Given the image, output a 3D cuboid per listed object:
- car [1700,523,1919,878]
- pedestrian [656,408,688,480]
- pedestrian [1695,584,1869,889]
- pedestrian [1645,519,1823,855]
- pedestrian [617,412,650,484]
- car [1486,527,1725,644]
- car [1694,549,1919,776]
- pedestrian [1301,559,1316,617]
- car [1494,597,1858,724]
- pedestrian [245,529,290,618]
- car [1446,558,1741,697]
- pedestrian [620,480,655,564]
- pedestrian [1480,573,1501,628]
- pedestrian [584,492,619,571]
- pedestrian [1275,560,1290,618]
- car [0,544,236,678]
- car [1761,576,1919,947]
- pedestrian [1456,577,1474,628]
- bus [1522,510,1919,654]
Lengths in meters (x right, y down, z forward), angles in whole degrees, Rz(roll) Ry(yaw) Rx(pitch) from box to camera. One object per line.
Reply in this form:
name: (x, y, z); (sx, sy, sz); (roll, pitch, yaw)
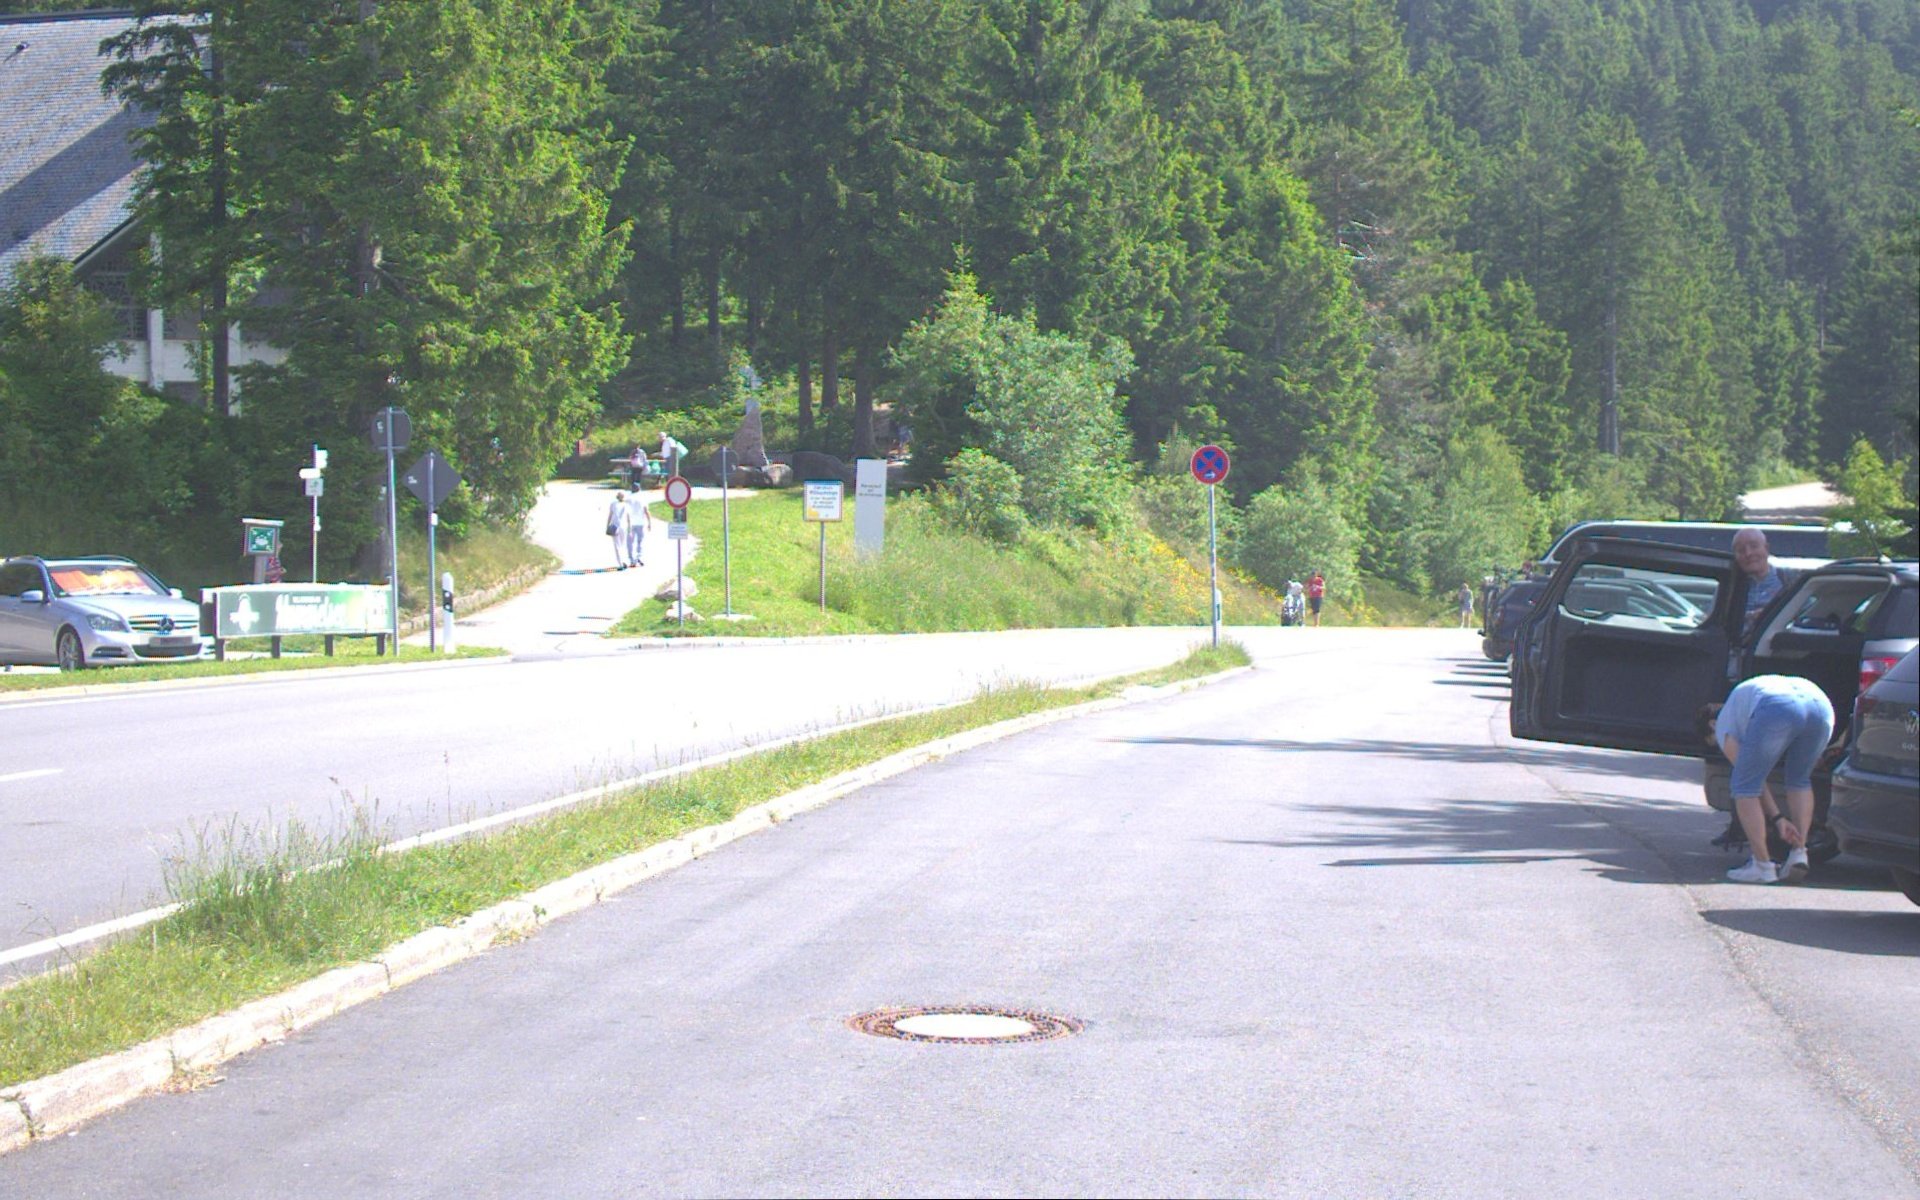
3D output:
car: (6.136, 0.611, 17.652); (3.985, 1.656, 2.001); (5, 0, -19)
pedestrian: (-8.180, -4.425, 97.615); (0.815, 2.006, 0.853); (-1, 2, 0)
pedestrian: (3.917, 0.635, 16.362); (0.774, 1.398, 0.669); (-1, 2, 15)
pedestrian: (4.172, 0.459, 18.546); (0.578, 1.754, 0.633); (3, 1, -21)
pedestrian: (-9.171, -4.279, 96.707); (0.797, 2.006, 0.940); (-1, 2, 0)
car: (11.417, -0.274, 61.040); (3.988, 1.713, 1.867); (4, 3, 8)
car: (8.497, 0.556, 34.154); (1.906, 1.965, 4.818); (5, 1, 8)
pedestrian: (10.603, -0.375, 104.658); (0.395, 1.741, 0.406); (-1, 2, 12)
car: (9.650, 0.812, 46.444); (4.452, 1.294, 1.583); (5, 1, -8)
pedestrian: (-12.088, -0.463, 60.022); (0.577, 1.527, 0.552); (-1, 2, 8)
car: (9.510, 0.396, 51.857); (3.987, 1.693, 2.000); (5, 2, 1)
pedestrian: (-6.929, -1.668, 73.867); (0.652, 1.793, 0.643); (0, 0, 2)
pedestrian: (19.424, 0.018, 125.833); (0.733, 2.007, 0.862); (-1, -1, 8)
pedestrian: (-7.626, -1.457, 73.190); (0.652, 1.661, 0.643); (0, -1, 2)
pedestrian: (9.751, -0.330, 103.854); (0.415, 1.741, 0.457); (-1, 2, 8)
car: (-10.190, 0.102, 40.251); (1.739, 1.436, 3.969); (-3, 2, -38)
car: (5.681, 0.729, 14.567); (3.986, 1.438, 1.840); (3, 1, -13)
pedestrian: (18.647, 0.093, 126.852); (0.622, 1.893, 0.654); (-1, -1, 8)
bus: (21.961, -0.526, 93.306); (12.878, 3.566, 2.978); (2, 3, 25)
